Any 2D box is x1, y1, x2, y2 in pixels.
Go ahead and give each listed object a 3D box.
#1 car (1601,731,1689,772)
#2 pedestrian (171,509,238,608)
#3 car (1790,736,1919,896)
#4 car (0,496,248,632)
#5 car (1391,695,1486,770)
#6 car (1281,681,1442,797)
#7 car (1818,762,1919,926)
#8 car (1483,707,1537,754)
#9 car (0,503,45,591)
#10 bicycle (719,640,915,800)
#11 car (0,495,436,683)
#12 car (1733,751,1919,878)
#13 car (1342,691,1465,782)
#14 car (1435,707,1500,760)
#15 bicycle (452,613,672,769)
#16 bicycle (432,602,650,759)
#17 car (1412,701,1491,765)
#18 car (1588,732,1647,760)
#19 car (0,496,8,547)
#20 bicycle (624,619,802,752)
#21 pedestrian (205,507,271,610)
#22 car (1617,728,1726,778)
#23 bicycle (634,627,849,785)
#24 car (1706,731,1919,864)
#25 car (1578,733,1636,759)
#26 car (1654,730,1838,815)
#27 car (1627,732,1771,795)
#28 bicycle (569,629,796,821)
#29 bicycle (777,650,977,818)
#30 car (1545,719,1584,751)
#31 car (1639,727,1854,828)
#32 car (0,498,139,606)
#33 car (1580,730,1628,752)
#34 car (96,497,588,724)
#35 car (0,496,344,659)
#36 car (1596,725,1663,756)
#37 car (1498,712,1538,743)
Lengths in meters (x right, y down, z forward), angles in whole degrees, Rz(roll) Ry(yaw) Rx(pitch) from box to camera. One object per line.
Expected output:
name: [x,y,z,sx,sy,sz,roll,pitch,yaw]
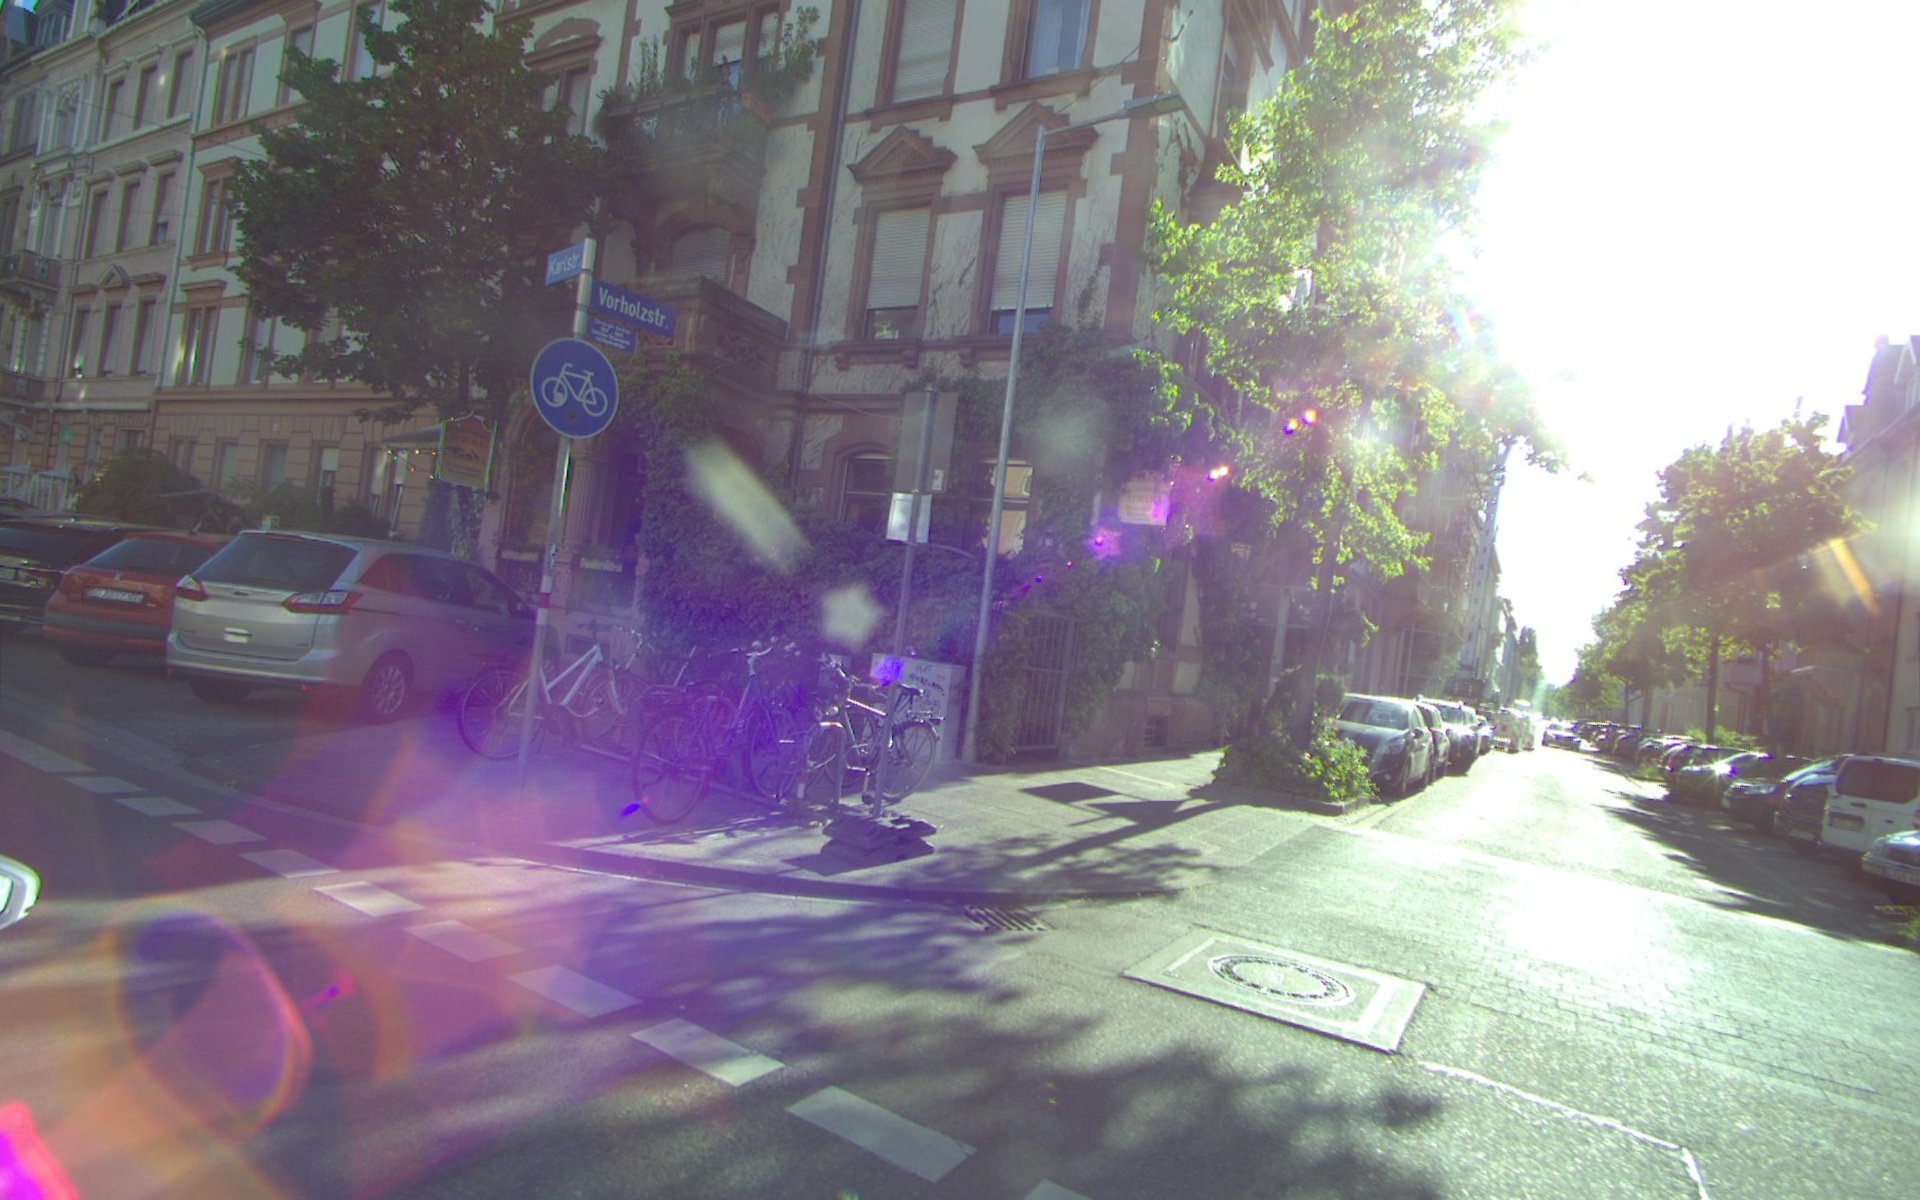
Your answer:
car: [39.034,8.615,57.433,3.889,1.650,1.772,6,-3,29]
pedestrian: [-13.707,-0.759,18.256,0.849,1.667,0.519,6,-2,31]
car: [13.861,3.091,13.595,3.671,1.850,1.774,8,-2,0]
car: [-12.977,-0.514,14.602,2.007,1.613,4.337,8,-3,0]
car: [12.137,3.332,25.389,1.685,1.589,3.996,2,-5,32]
car: [6.759,2.277,16.686,1.684,1.469,3.996,6,-3,32]
car: [11.631,2.820,10.633,3.466,1.549,1.774,8,-2,0]
car: [25.239,5.970,46.130,1.685,1.771,3.993,7,-2,34]
car: [-19.222,-1.240,17.779,2.048,1.613,4.007,7,-3,7]
bicycle: [-1.131,0.996,8.270,0.520,1.139,1.557,6,-3,37]
car: [-8.196,0.016,11.443,1.882,1.553,4.007,7,-3,7]
car: [14.895,3.528,16.154,3.466,1.549,1.774,8,-2,0]
car: [9.284,2.813,20.875,1.684,1.469,3.996,6,-3,32]
car: [18.490,4.850,36.576,1.684,1.589,3.996,4,-4,32]
bicycle: [-3.067,0.749,7.908,0.302,1.091,1.557,6,-3,37]
bicycle: [-3.317,0.686,8.110,0.290,1.139,1.561,6,-3,37]
car: [14.899,4.013,30.393,1.684,1.589,3.996,4,-4,32]
car: [53.764,11.953,82.318,3.894,1.650,1.769,6,-3,35]
car: [-21.436,-1.656,19.217,1.945,1.613,4.324,7,-3,7]
bicycle: [-2.358,0.863,9.764,0.543,1.139,1.557,6,-3,37]
pedestrian: [-13.511,-0.782,18.829,0.849,1.798,0.519,6,-2,31]
car: [33.658,7.208,47.716,3.889,1.650,1.772,6,-3,29]
bicycle: [-1.764,0.904,8.380,0.543,1.139,1.676,6,-3,37]
car: [16.831,3.760,19.008,3.882,1.917,1.775,7,-2,20]
car: [56.334,12.699,87.656,3.887,1.650,1.773,6,-3,27]
car: [23.774,5.170,30.587,3.882,1.814,1.775,7,-2,19]
car: [27.796,6.137,37.994,3.882,1.650,1.775,7,-2,19]
bicycle: [-1.867,0.856,6.964,0.542,1.139,1.401,6,-3,31]
bicycle: [-0.604,1.050,7.888,0.543,1.139,1.557,6,-3,37]
car: [35.754,7.958,59.439,1.685,1.590,3.993,7,-2,34]
car: [20.215,4.526,26.055,3.882,1.814,1.775,7,-2,20]
car: [-16.679,-0.959,16.975,1.922,1.613,4.007,7,-3,7]
car: [64.623,14.145,100.981,3.893,1.650,1.770,6,-3,34]
car: [-5.838,0.218,10.331,1.818,1.613,4.373,7,-3,7]
car: [-10.432,-0.214,12.690,2.049,1.613,4.456,7,-3,7]
car: [49.650,10.415,74.697,3.889,1.650,1.772,6,-3,29]
car: [34.302,7.842,61.765,1.685,1.590,3.993,7,-2,34]
